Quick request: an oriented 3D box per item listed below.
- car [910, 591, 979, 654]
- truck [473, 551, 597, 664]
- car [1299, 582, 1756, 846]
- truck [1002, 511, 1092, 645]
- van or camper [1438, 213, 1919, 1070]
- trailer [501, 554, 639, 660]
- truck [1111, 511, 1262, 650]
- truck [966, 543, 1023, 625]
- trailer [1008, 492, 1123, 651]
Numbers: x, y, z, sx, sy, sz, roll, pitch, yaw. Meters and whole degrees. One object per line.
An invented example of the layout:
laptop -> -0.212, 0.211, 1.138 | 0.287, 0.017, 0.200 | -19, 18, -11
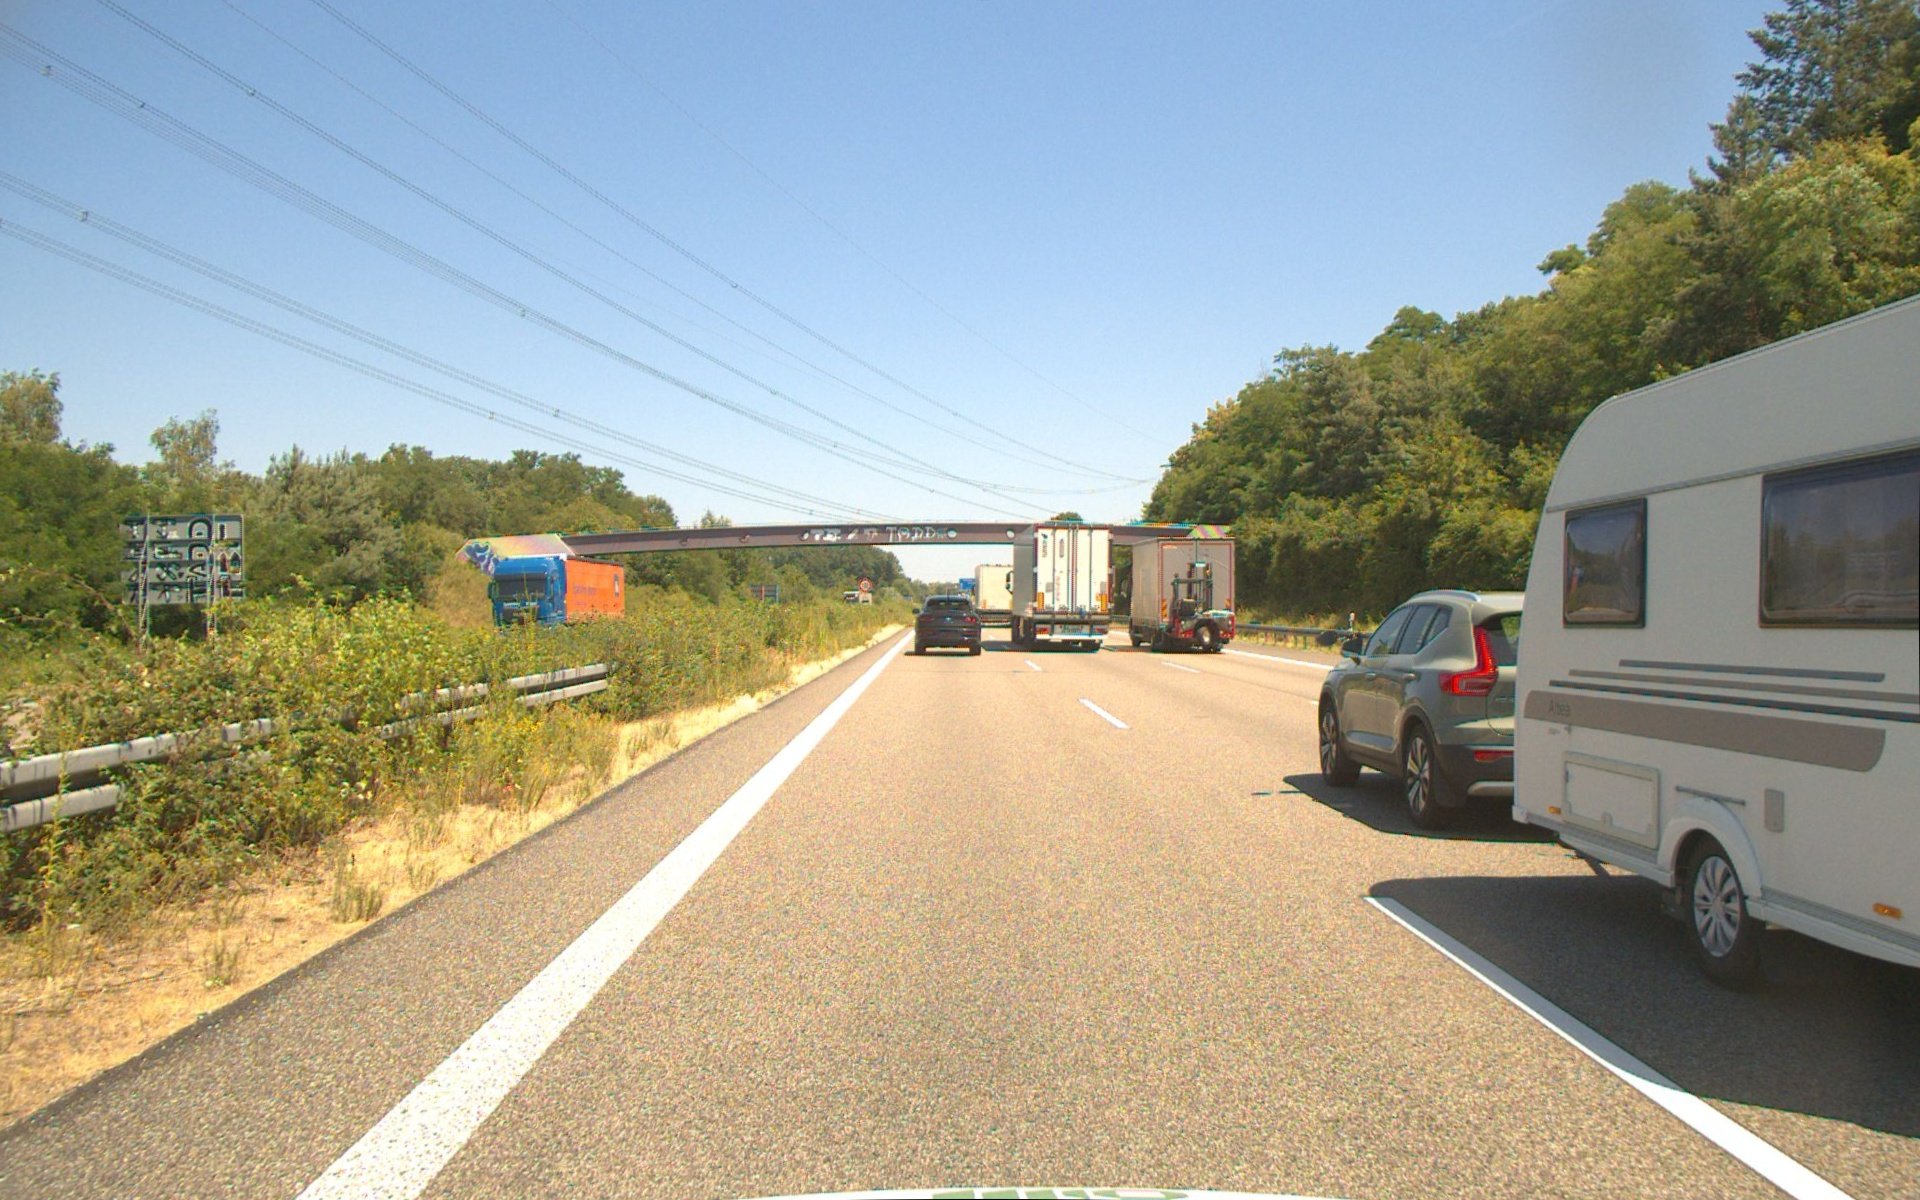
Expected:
car -> -0.514, 0.632, 49.512 | 1.953, 1.803, 3.998 | 0, 0, -2
truck -> -18.156, 0.308, 71.234 | 3.276, 4.484, 7.970 | -1, 0, -1
car -> 4.056, 0.721, 12.745 | 1.841, 1.640, 4.701 | 1, 0, -1
truck -> 3.375, -0.816, 65.595 | 3.024, 4.970, 6.596 | 1, 0, -1
van or camper -> 4.221, 0.120, 7.170 | 2.389, 2.721, 6.349 | 0, 0, -1
trailer -> -18.244, 0.310, 78.620 | 3.276, 4.484, 14.162 | -1, 0, -1
truck -> 7.705, -0.578, 58.122 | 3.498, 4.319, 11.649 | 1, 0, -1
truck -> 2.228, -1.054, 111.778 | 3.440, 5.257, 10.256 | 1, 0, -1
trailer -> 3.500, -0.860, 58.362 | 3.024, 4.970, 12.255 | 1, 0, -1
